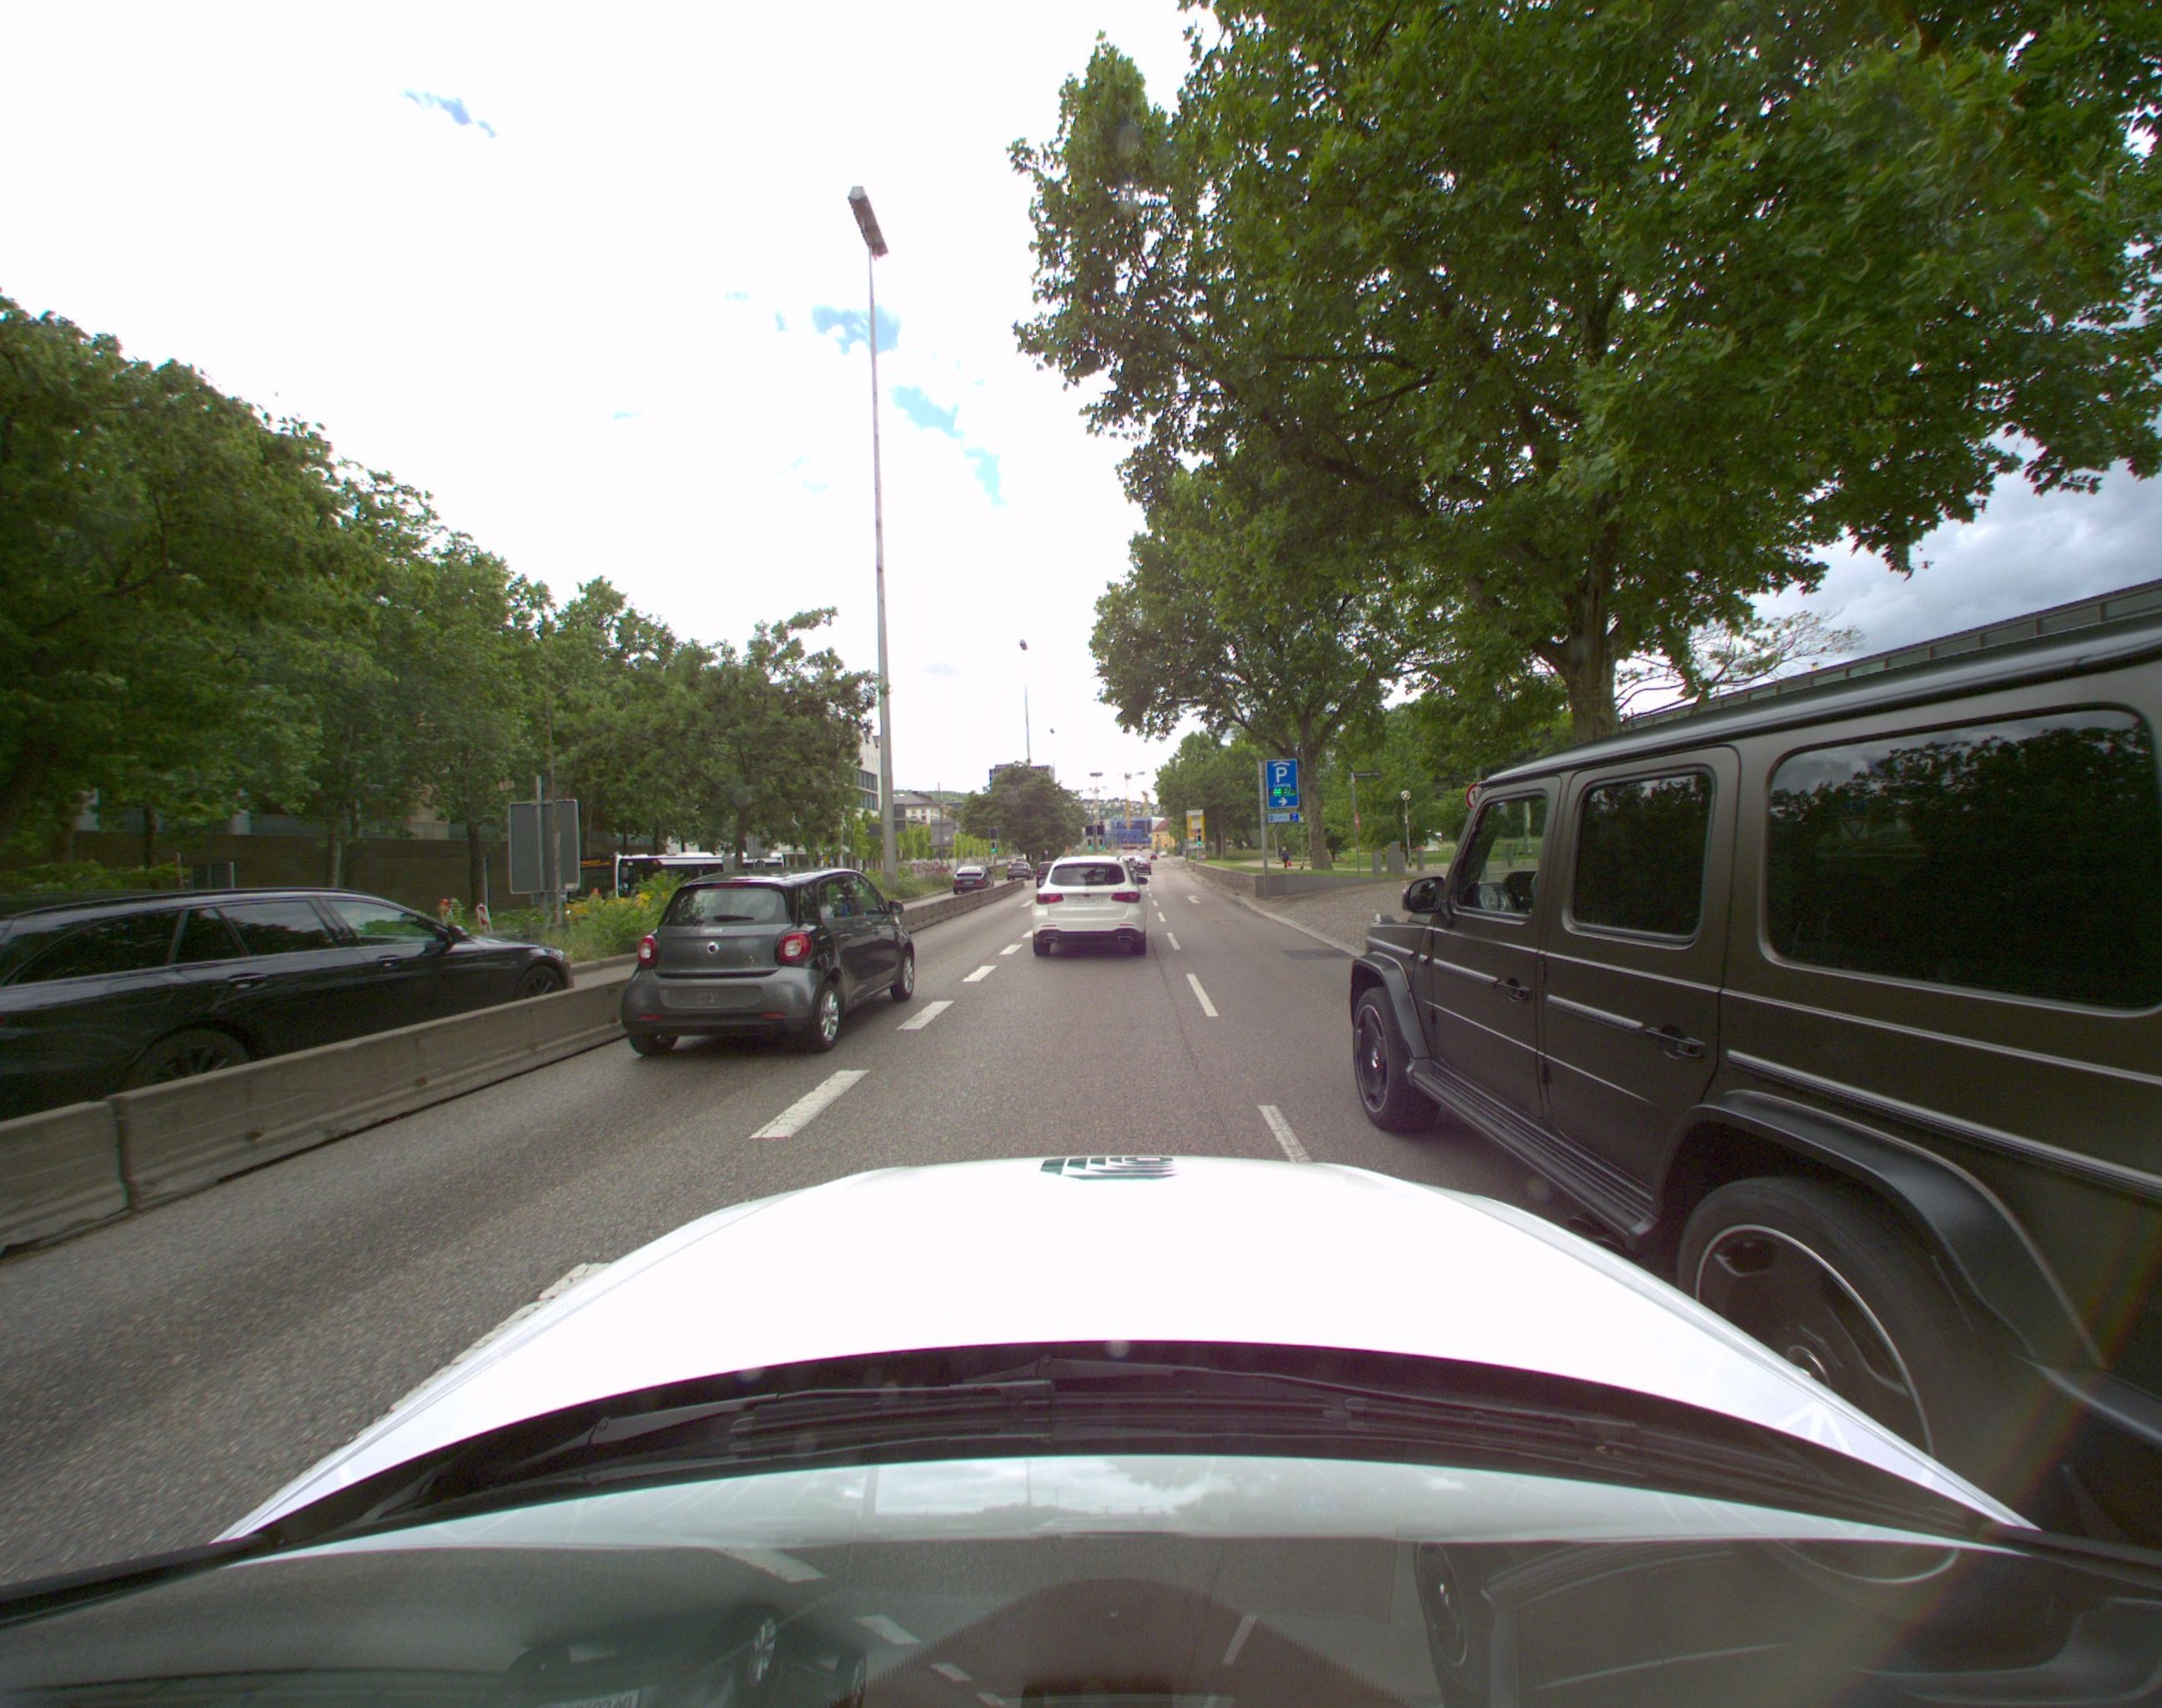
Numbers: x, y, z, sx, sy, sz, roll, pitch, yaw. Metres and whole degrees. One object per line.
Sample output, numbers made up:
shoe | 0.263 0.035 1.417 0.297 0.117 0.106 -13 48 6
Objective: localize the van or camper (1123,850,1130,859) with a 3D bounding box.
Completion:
van or camper | 12.203 0.071 217.581 1.915 2.320 4.002 -1 -2 2

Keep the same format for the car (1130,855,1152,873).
car | 5.285 0.858 71.754 1.713 1.585 4.001 0 0 1

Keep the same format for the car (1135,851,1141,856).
car | 17.081 -0.074 243.056 1.713 1.585 4.001 0 0 1

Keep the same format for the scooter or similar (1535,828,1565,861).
scooter or similar | 17.874 -0.367 31.061 0.713 1.247 0.729 0 -1 1

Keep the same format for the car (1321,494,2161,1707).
car | 2.495 0.489 2.934 1.970 1.893 4.708 0 -1 1

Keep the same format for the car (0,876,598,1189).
car | -6.085 0.933 6.126 1.805 1.460 4.865 1 -1 2

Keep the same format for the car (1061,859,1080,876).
car | -0.963 1.232 76.305 1.713 1.585 4.000 0 0 1

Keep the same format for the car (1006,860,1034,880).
car | -4.868 1.295 65.501 1.746 1.553 4.002 0 0 2

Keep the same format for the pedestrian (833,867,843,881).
pedestrian | -28.132 2.346 94.393 0.887 1.557 0.591 -2 -1 -40

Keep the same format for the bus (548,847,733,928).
bus | -20.995 1.463 39.911 2.901 3.305 10.454 -3 -1 2

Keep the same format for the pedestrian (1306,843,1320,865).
pedestrian | 16.309 0.014 57.315 0.783 1.527 0.684 0 -1 3

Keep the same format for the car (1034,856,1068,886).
car | -1.702 0.974 47.295 1.713 1.678 4.001 0 0 1

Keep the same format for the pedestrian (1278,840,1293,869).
pedestrian | 14.272 0.053 56.864 0.853 2.014 0.815 0 -2 1

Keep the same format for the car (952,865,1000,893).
car | -5.116 1.201 40.075 1.713 1.292 4.001 0 0 1

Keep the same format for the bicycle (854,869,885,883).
bicycle | -27.155 2.825 104.474 3.600 1.684 1.183 -3 0 1

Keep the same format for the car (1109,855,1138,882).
car | 2.640 0.873 51.087 1.713 1.585 4.001 0 0 1

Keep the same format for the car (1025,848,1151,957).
car | 0.155 0.784 14.607 1.933 1.684 4.001 0 -1 1

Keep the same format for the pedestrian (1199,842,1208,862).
pedestrian | 10.658 -0.175 70.659 0.695 1.656 0.684 0 -1 2

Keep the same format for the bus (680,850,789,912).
bus | -20.600 1.533 48.994 2.911 3.303 7.710 -3 -1 2

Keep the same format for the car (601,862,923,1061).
car | -2.811 0.860 8.051 1.621 1.509 3.542 -1 -1 3

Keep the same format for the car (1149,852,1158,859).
car | 16.921 0.375 190.470 1.713 1.585 4.001 0 0 1

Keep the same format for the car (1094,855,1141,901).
car | 1.428 0.895 31.043 1.665 1.628 4.003 0 -1 4

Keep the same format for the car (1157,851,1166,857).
car | 21.826 0.092 220.606 1.988 1.618 3.997 0 -1 -2
